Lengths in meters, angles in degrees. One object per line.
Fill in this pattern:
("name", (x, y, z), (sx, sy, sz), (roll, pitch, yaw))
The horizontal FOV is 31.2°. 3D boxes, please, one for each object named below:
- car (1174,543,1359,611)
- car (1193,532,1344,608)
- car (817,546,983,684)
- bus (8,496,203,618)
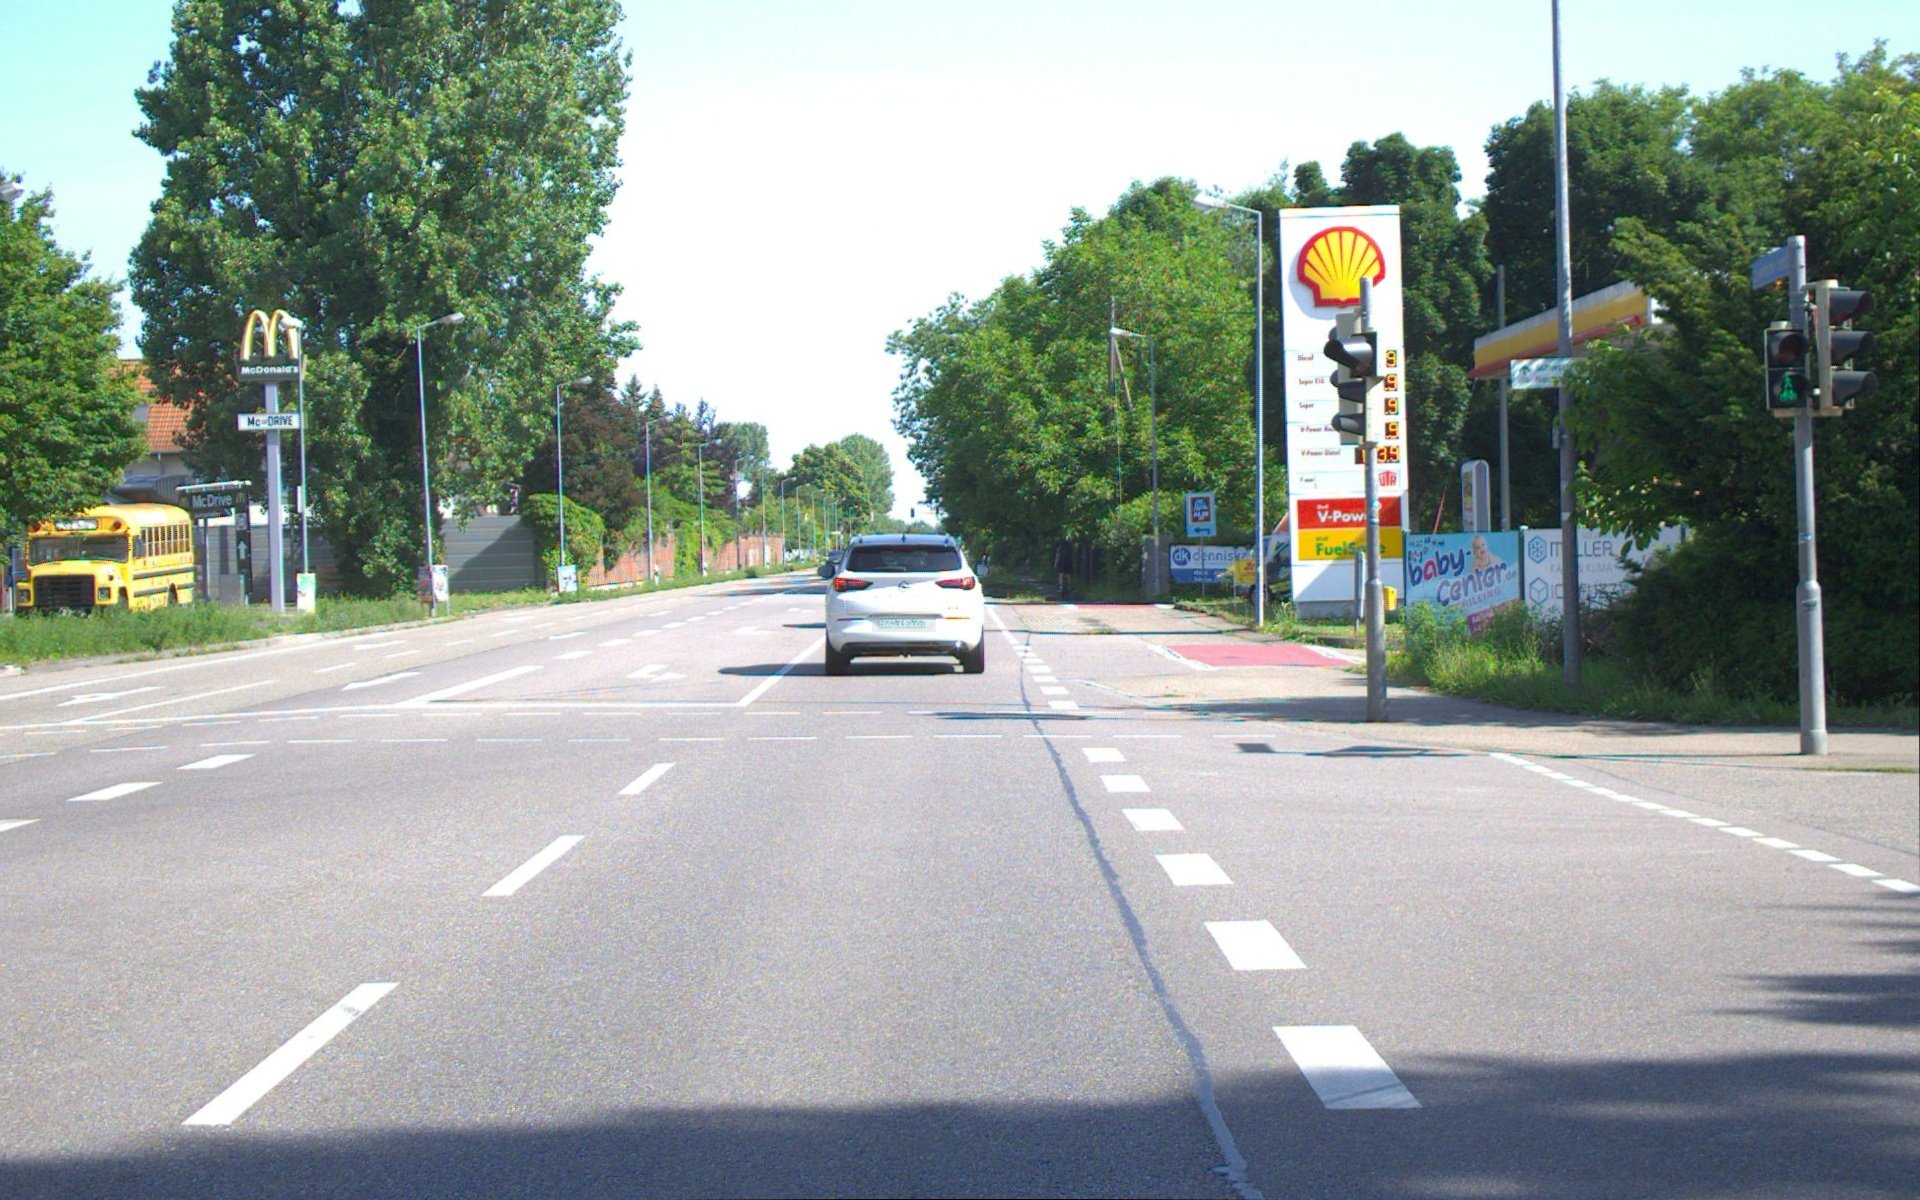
("car", (7.040, -0.533, 79.104), (3.986, 1.525, 1.586), (0, 0, -7))
("car", (6.377, -0.605, 71.148), (2.729, 1.525, 1.574), (-1, -1, 44))
("car", (-0.667, 0.152, 40.589), (1.847, 1.536, 4.225), (0, 0, 0))
("bus", (-19.805, -0.986, 80.184), (2.579, 2.670, 8.998), (0, 0, -2))
